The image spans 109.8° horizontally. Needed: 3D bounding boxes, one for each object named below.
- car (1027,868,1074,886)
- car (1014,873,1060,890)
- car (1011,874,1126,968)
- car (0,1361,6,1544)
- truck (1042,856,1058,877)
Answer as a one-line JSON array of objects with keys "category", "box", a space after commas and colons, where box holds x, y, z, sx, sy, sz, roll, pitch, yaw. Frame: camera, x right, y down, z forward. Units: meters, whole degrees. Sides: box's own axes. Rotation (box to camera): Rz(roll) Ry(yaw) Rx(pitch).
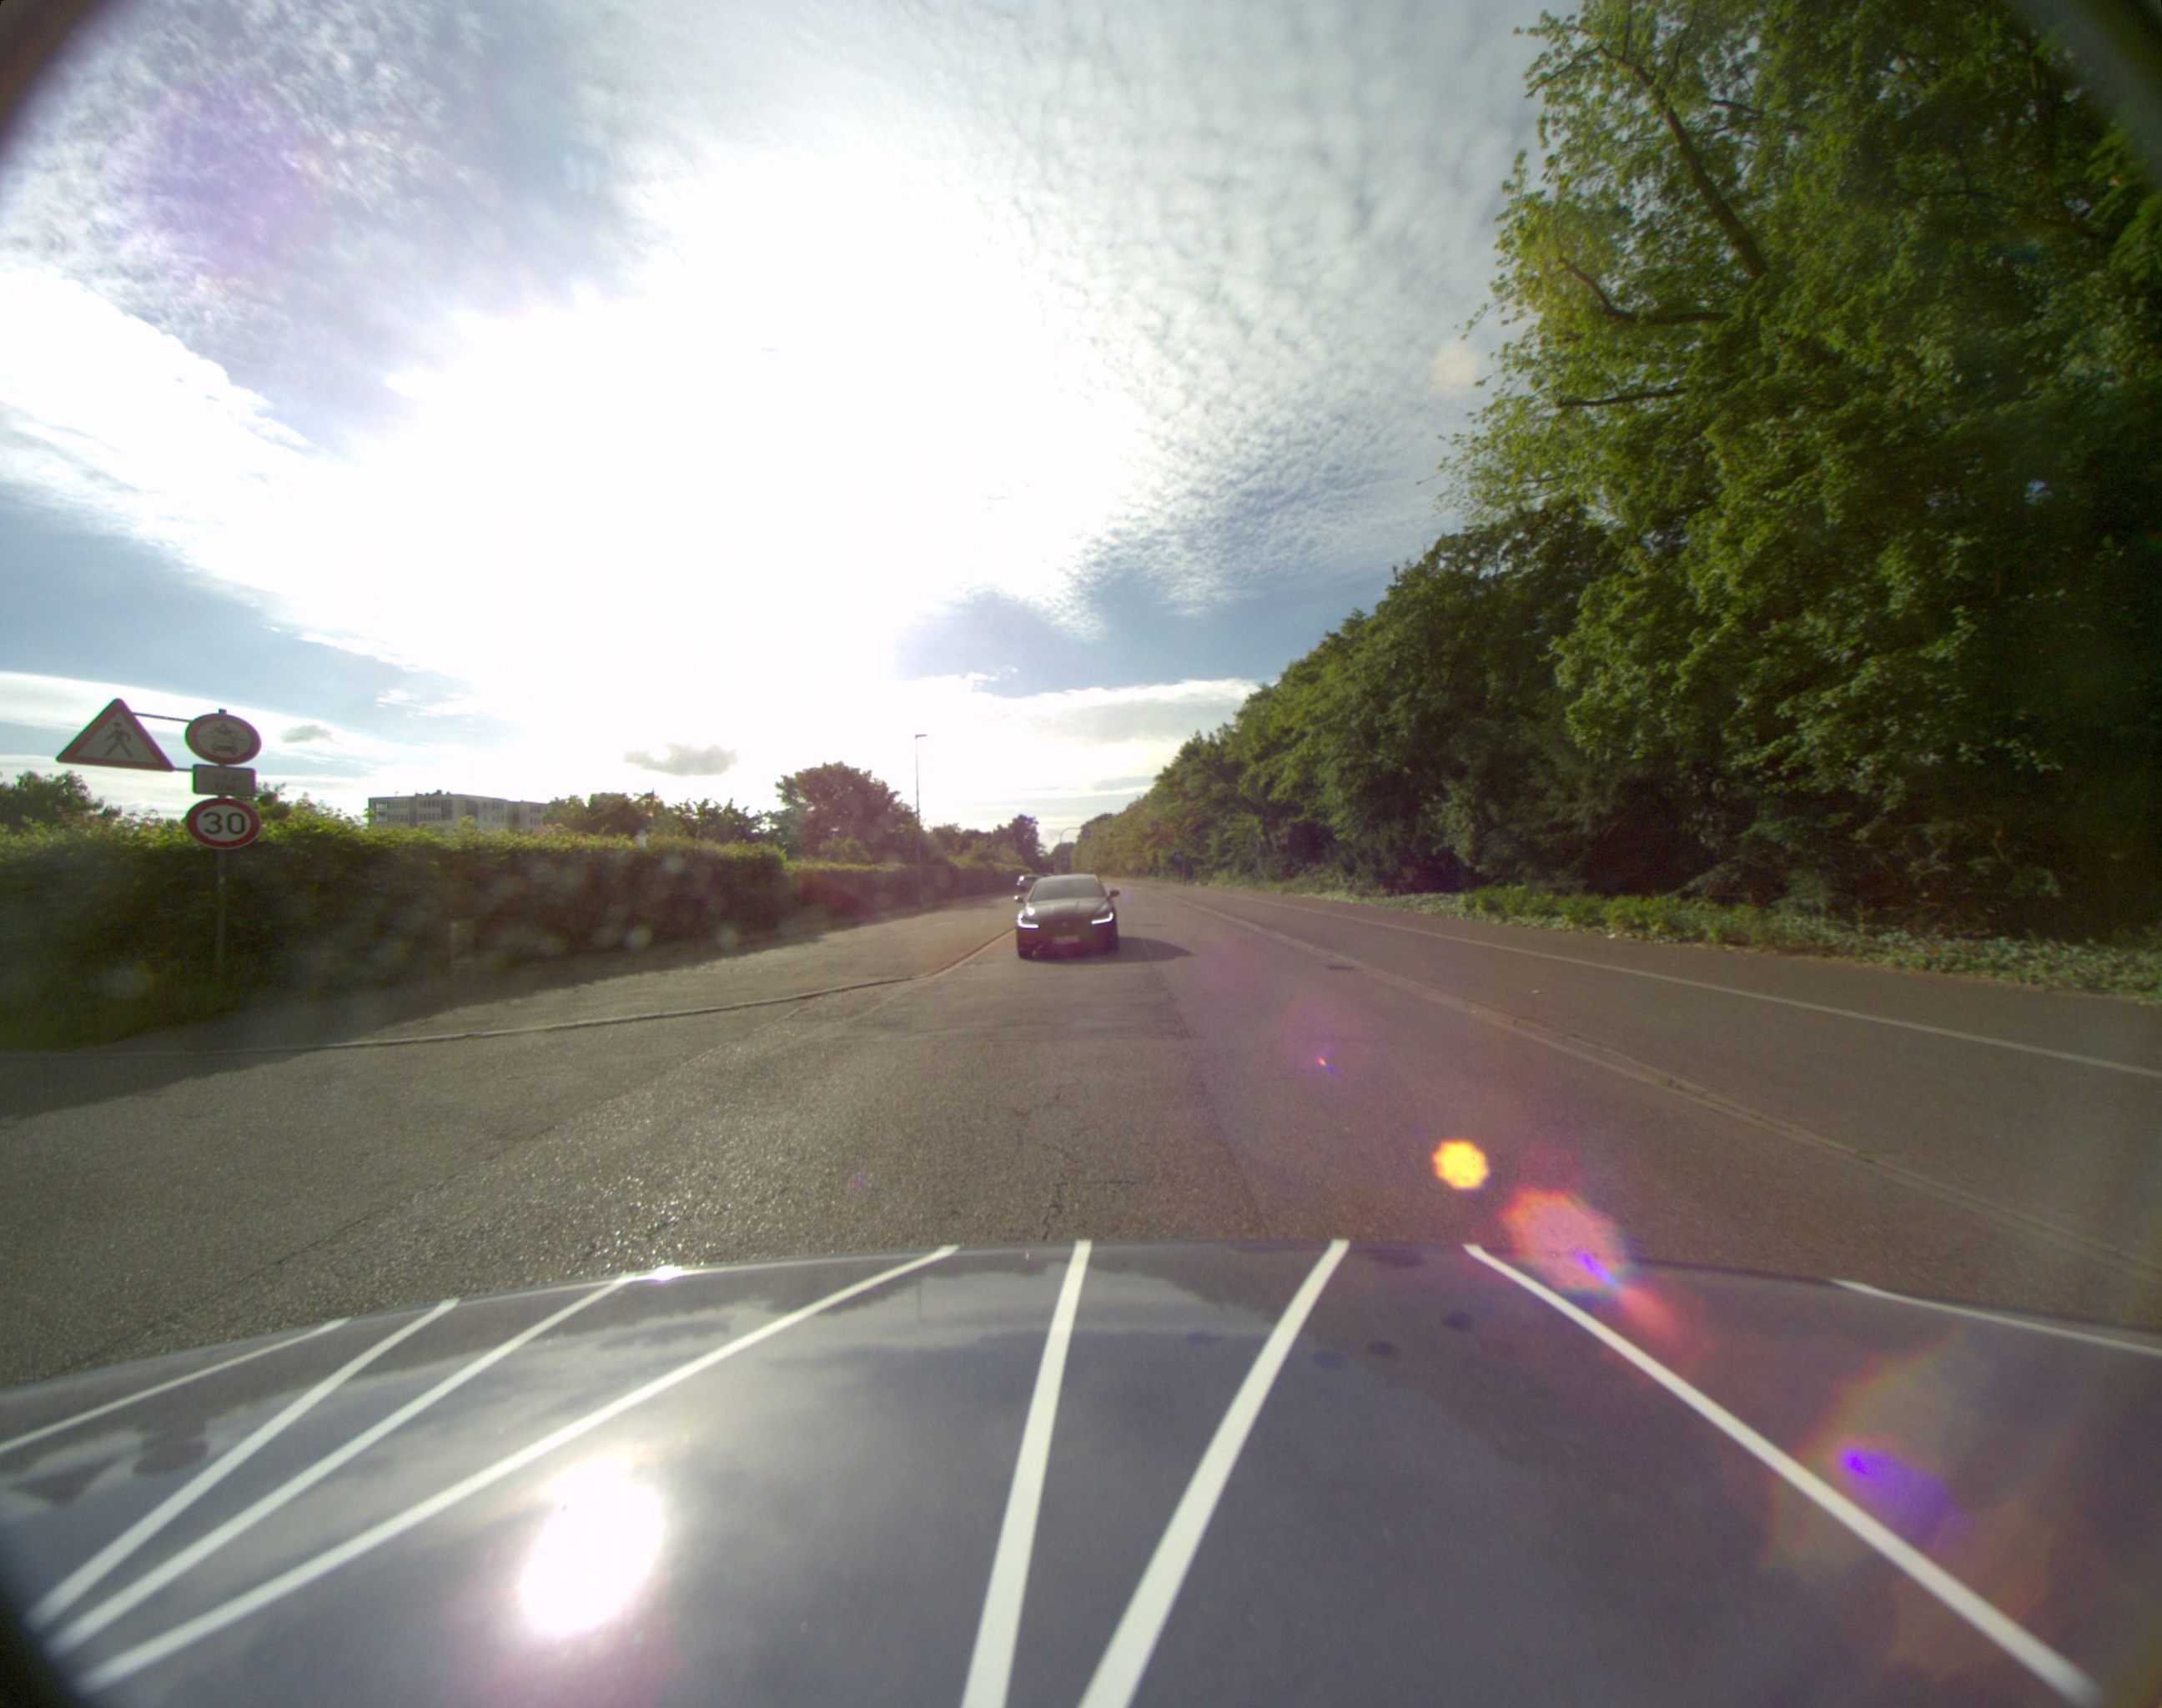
[{"category": "car", "box": [-3.056, 2.334, 77.283, 4.598, 1.689, 1.764, -1, 0, 2]}, {"category": "car", "box": [-3.835, 2.405, 66.526, 3.866, 1.481, 1.693, 1, -2, 1]}, {"category": "car", "box": [-0.181, 1.237, 15.596, 1.936, 1.500, 4.681, -3, -1, 1]}, {"category": "car", "box": [-5.150, 1.145, 1.364, 4.370, 1.434, 1.934, -2, 0, 9]}, {"category": "truck", "box": [-6.112, 2.437, 147.211, 2.603, 3.934, 6.281, 1, -2, -6]}]
